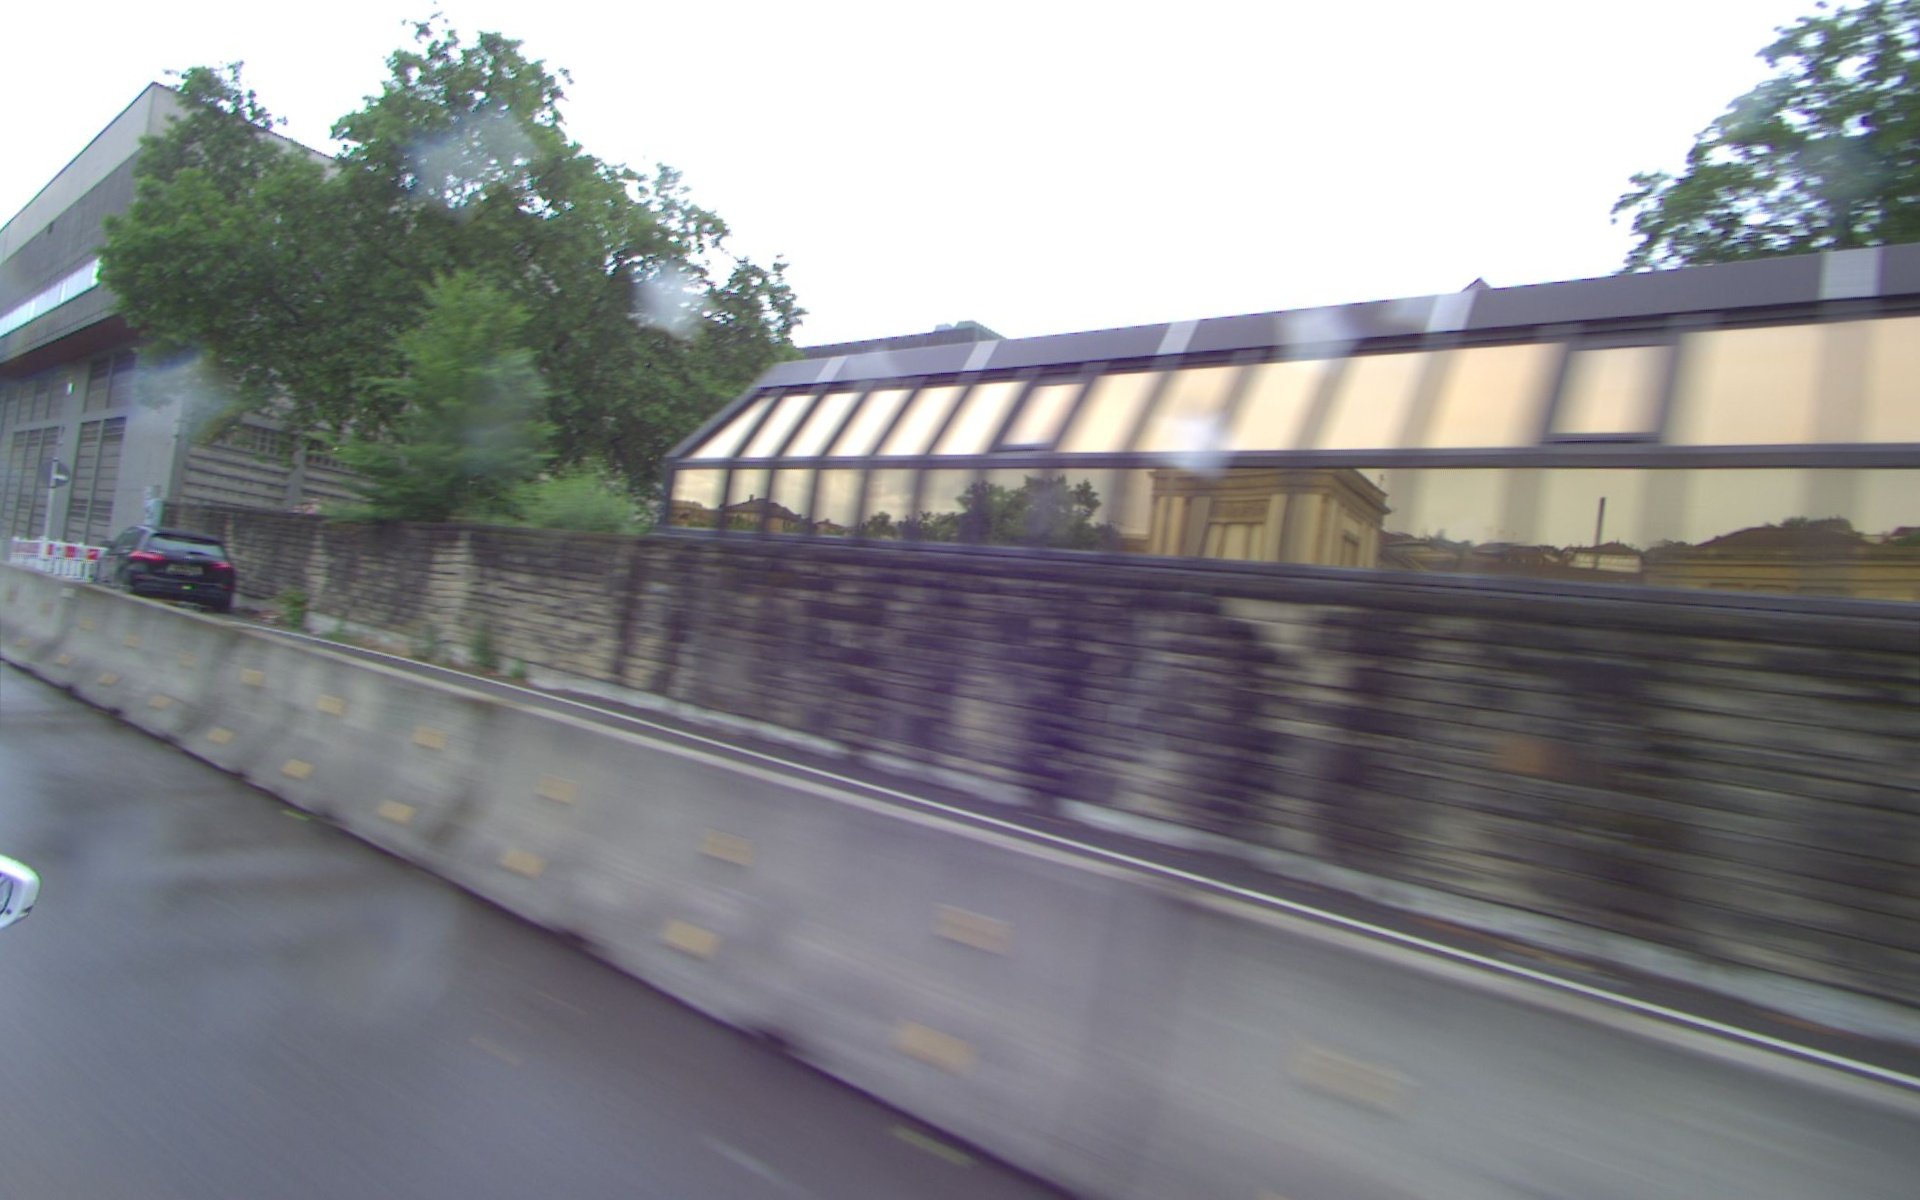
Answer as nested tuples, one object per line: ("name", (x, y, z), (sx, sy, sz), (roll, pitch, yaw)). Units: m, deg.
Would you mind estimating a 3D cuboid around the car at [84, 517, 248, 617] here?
("car", (-16.210, -0.706, 20.465), (4.267, 1.569, 1.804), (5, -3, 42))
